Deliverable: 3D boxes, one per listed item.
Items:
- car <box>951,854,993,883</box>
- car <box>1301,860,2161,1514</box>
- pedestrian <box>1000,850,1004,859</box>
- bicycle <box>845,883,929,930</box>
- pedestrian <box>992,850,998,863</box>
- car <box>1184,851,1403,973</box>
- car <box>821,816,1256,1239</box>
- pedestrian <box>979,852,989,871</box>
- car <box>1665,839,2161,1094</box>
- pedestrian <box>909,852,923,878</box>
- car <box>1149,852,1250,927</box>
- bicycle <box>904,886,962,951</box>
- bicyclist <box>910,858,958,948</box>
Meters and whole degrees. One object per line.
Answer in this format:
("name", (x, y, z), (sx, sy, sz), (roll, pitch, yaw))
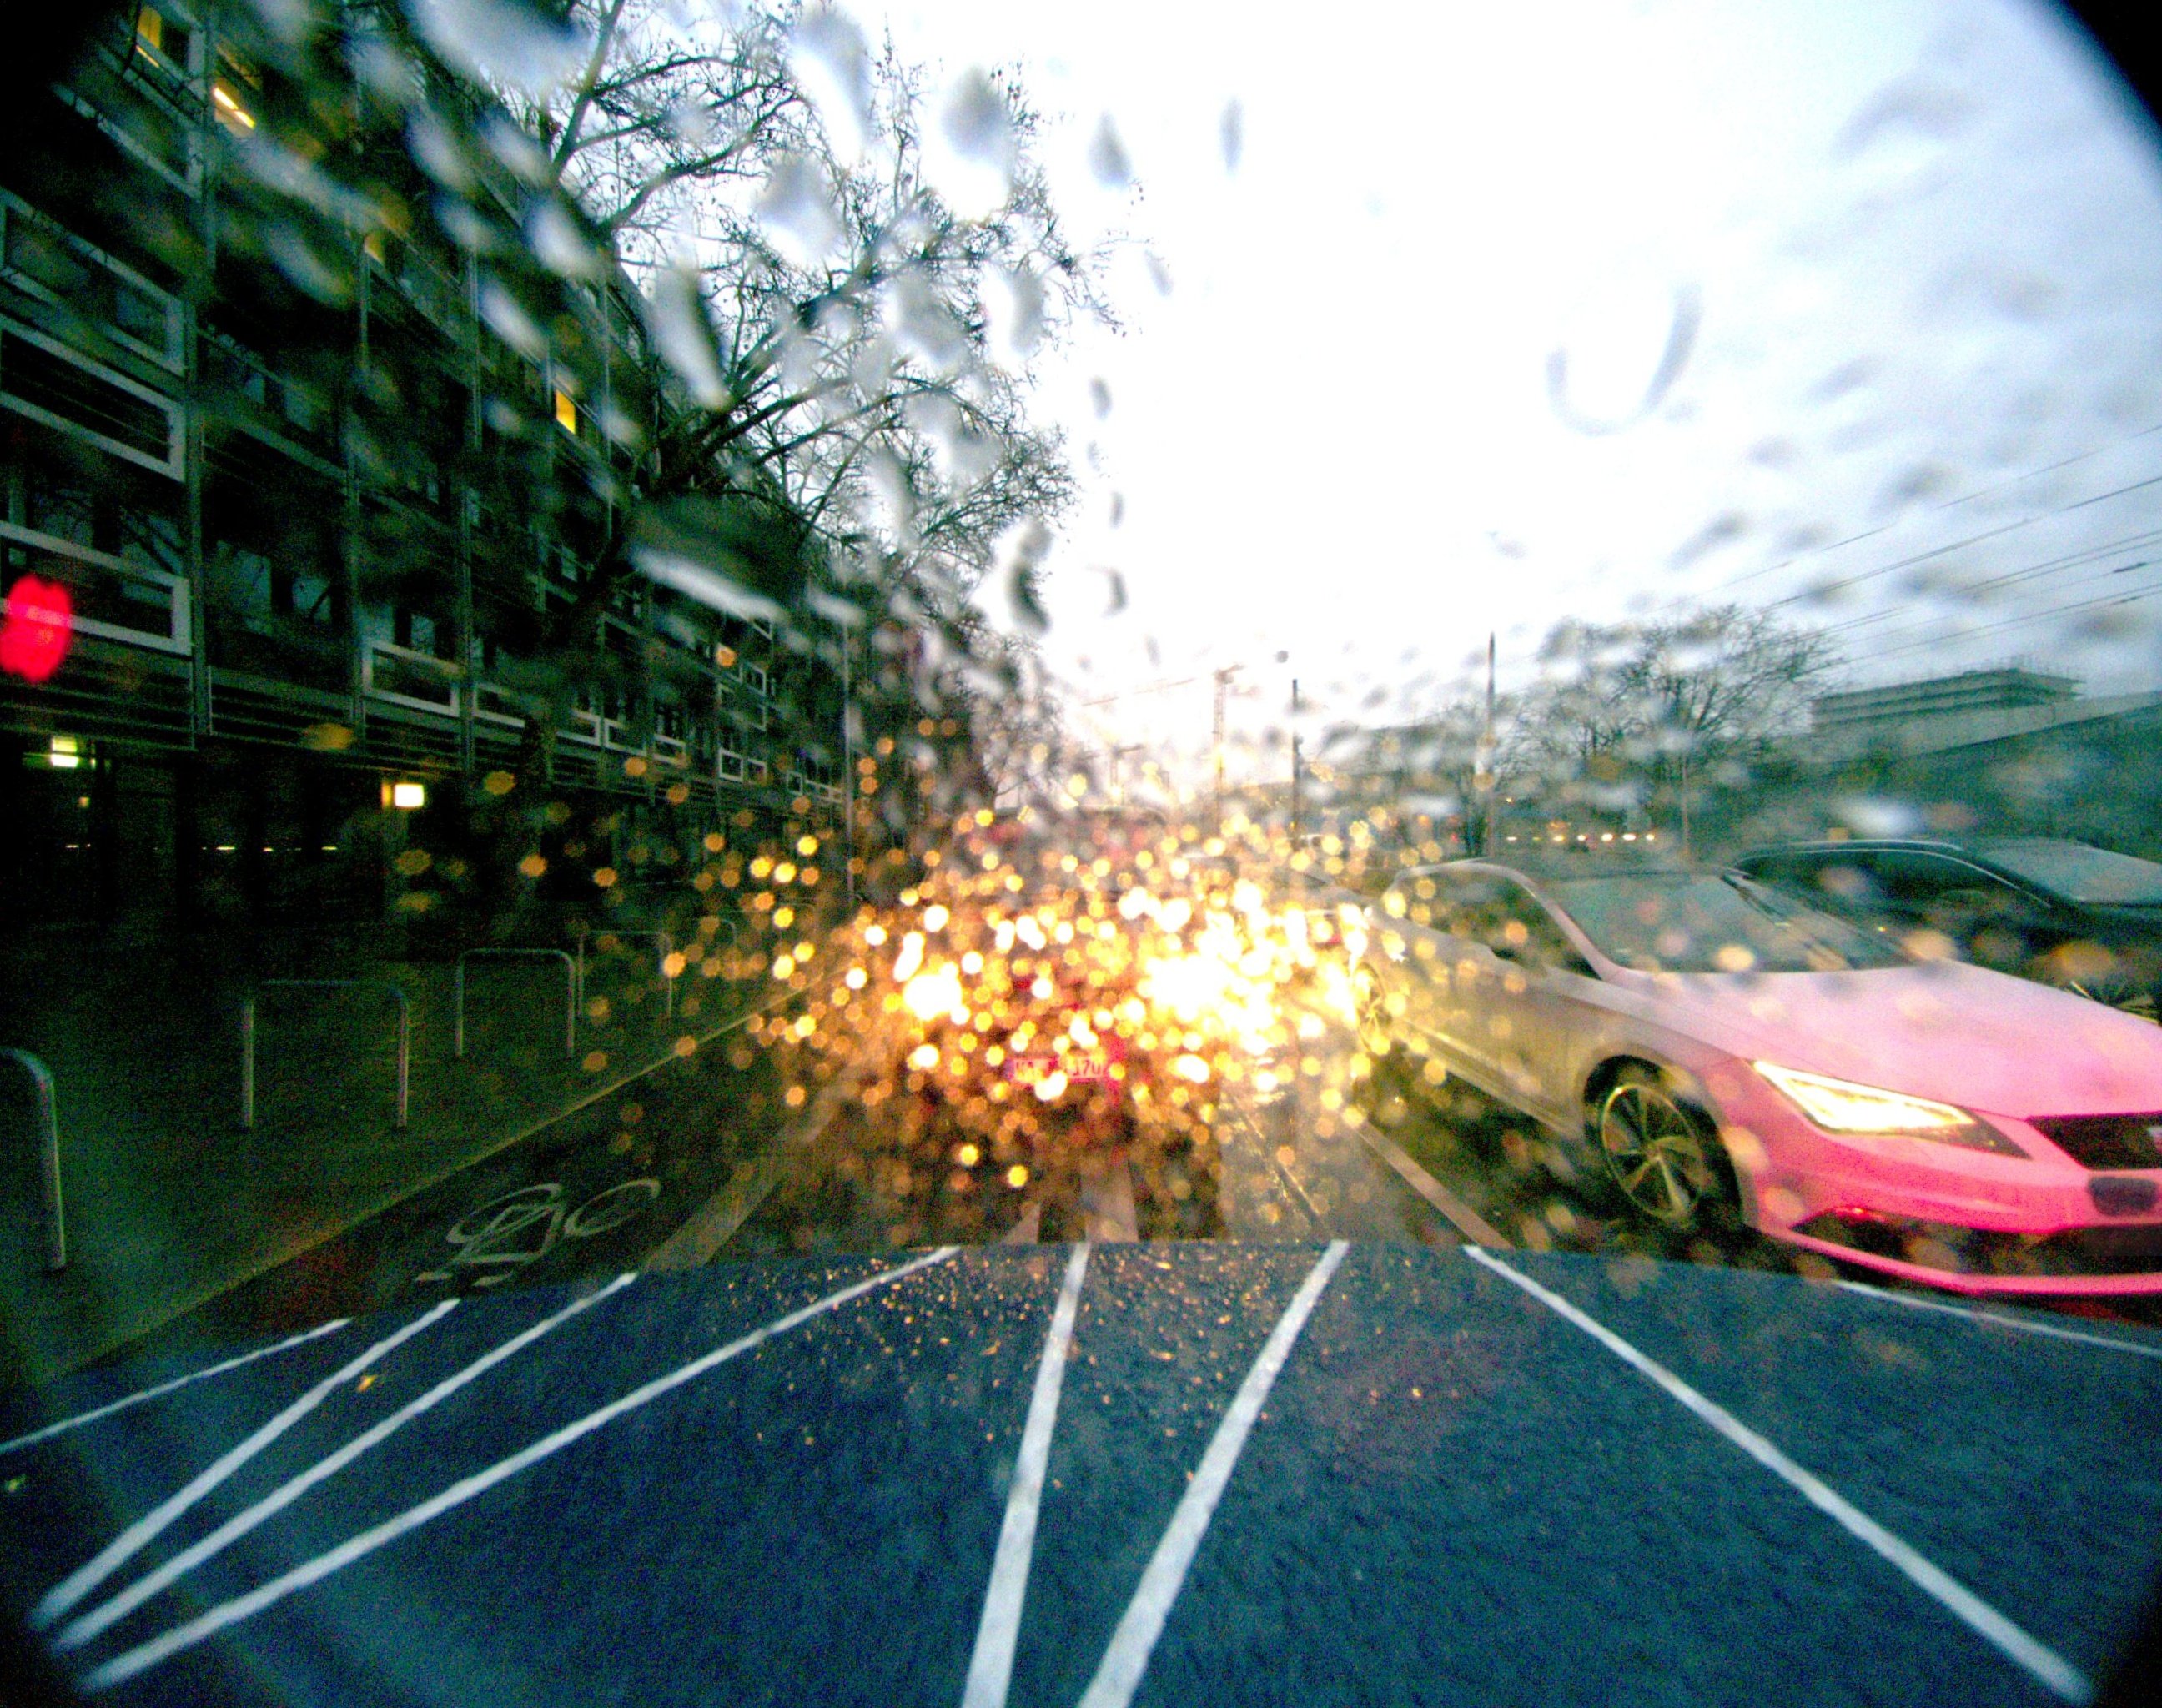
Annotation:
("car", (-6.170, 0.800, 43.420), (1.713, 1.455, 3.999), (-2, 1, 1))
("car", (2.980, 0.839, 4.173), (1.949, 1.478, 4.504), (-2, 0, -4))
("pedestrian", (-14.376, 0.097, 138.206), (0.766, 1.740, 0.928), (0, 1, -4))
("bicycle", (-4.486, 1.206, 17.666), (1.704, 0.987, 0.879), (1, 1, 0))
("pedestrian", (-11.826, 0.388, 104.218), (0.766, 1.740, 0.928), (0, 1, -4))
("car", (2.922, 0.701, 11.586), (1.999, 1.478, 4.504), (-1, 0, -1))
("car", (-0.214, 0.759, 5.412), (1.878, 1.830, 3.999), (-2, 1, -1))
("pedestrian", (-8.710, 0.672, 68.178), (0.766, 1.740, 0.928), (0, 1, -4))
("car", (7.353, 0.651, 5.989), (1.853, 1.499, 4.662), (-1, 1, -1))
("pedestrian", (-11.292, 0.766, 52.007), (0.766, 1.740, 0.928), (0, 1, -4))
("car", (2.837, 0.795, 19.088), (1.907, 1.565, 3.999), (-2, 1, 1))
("bicycle", (-2.815, 1.202, 14.636), (0.710, 1.088, 1.784), (-1, 0, 1))
("bicyclist", (-2.812, 0.910, 14.594), (0.704, 1.650, 0.964), (-1, 0, 1))
